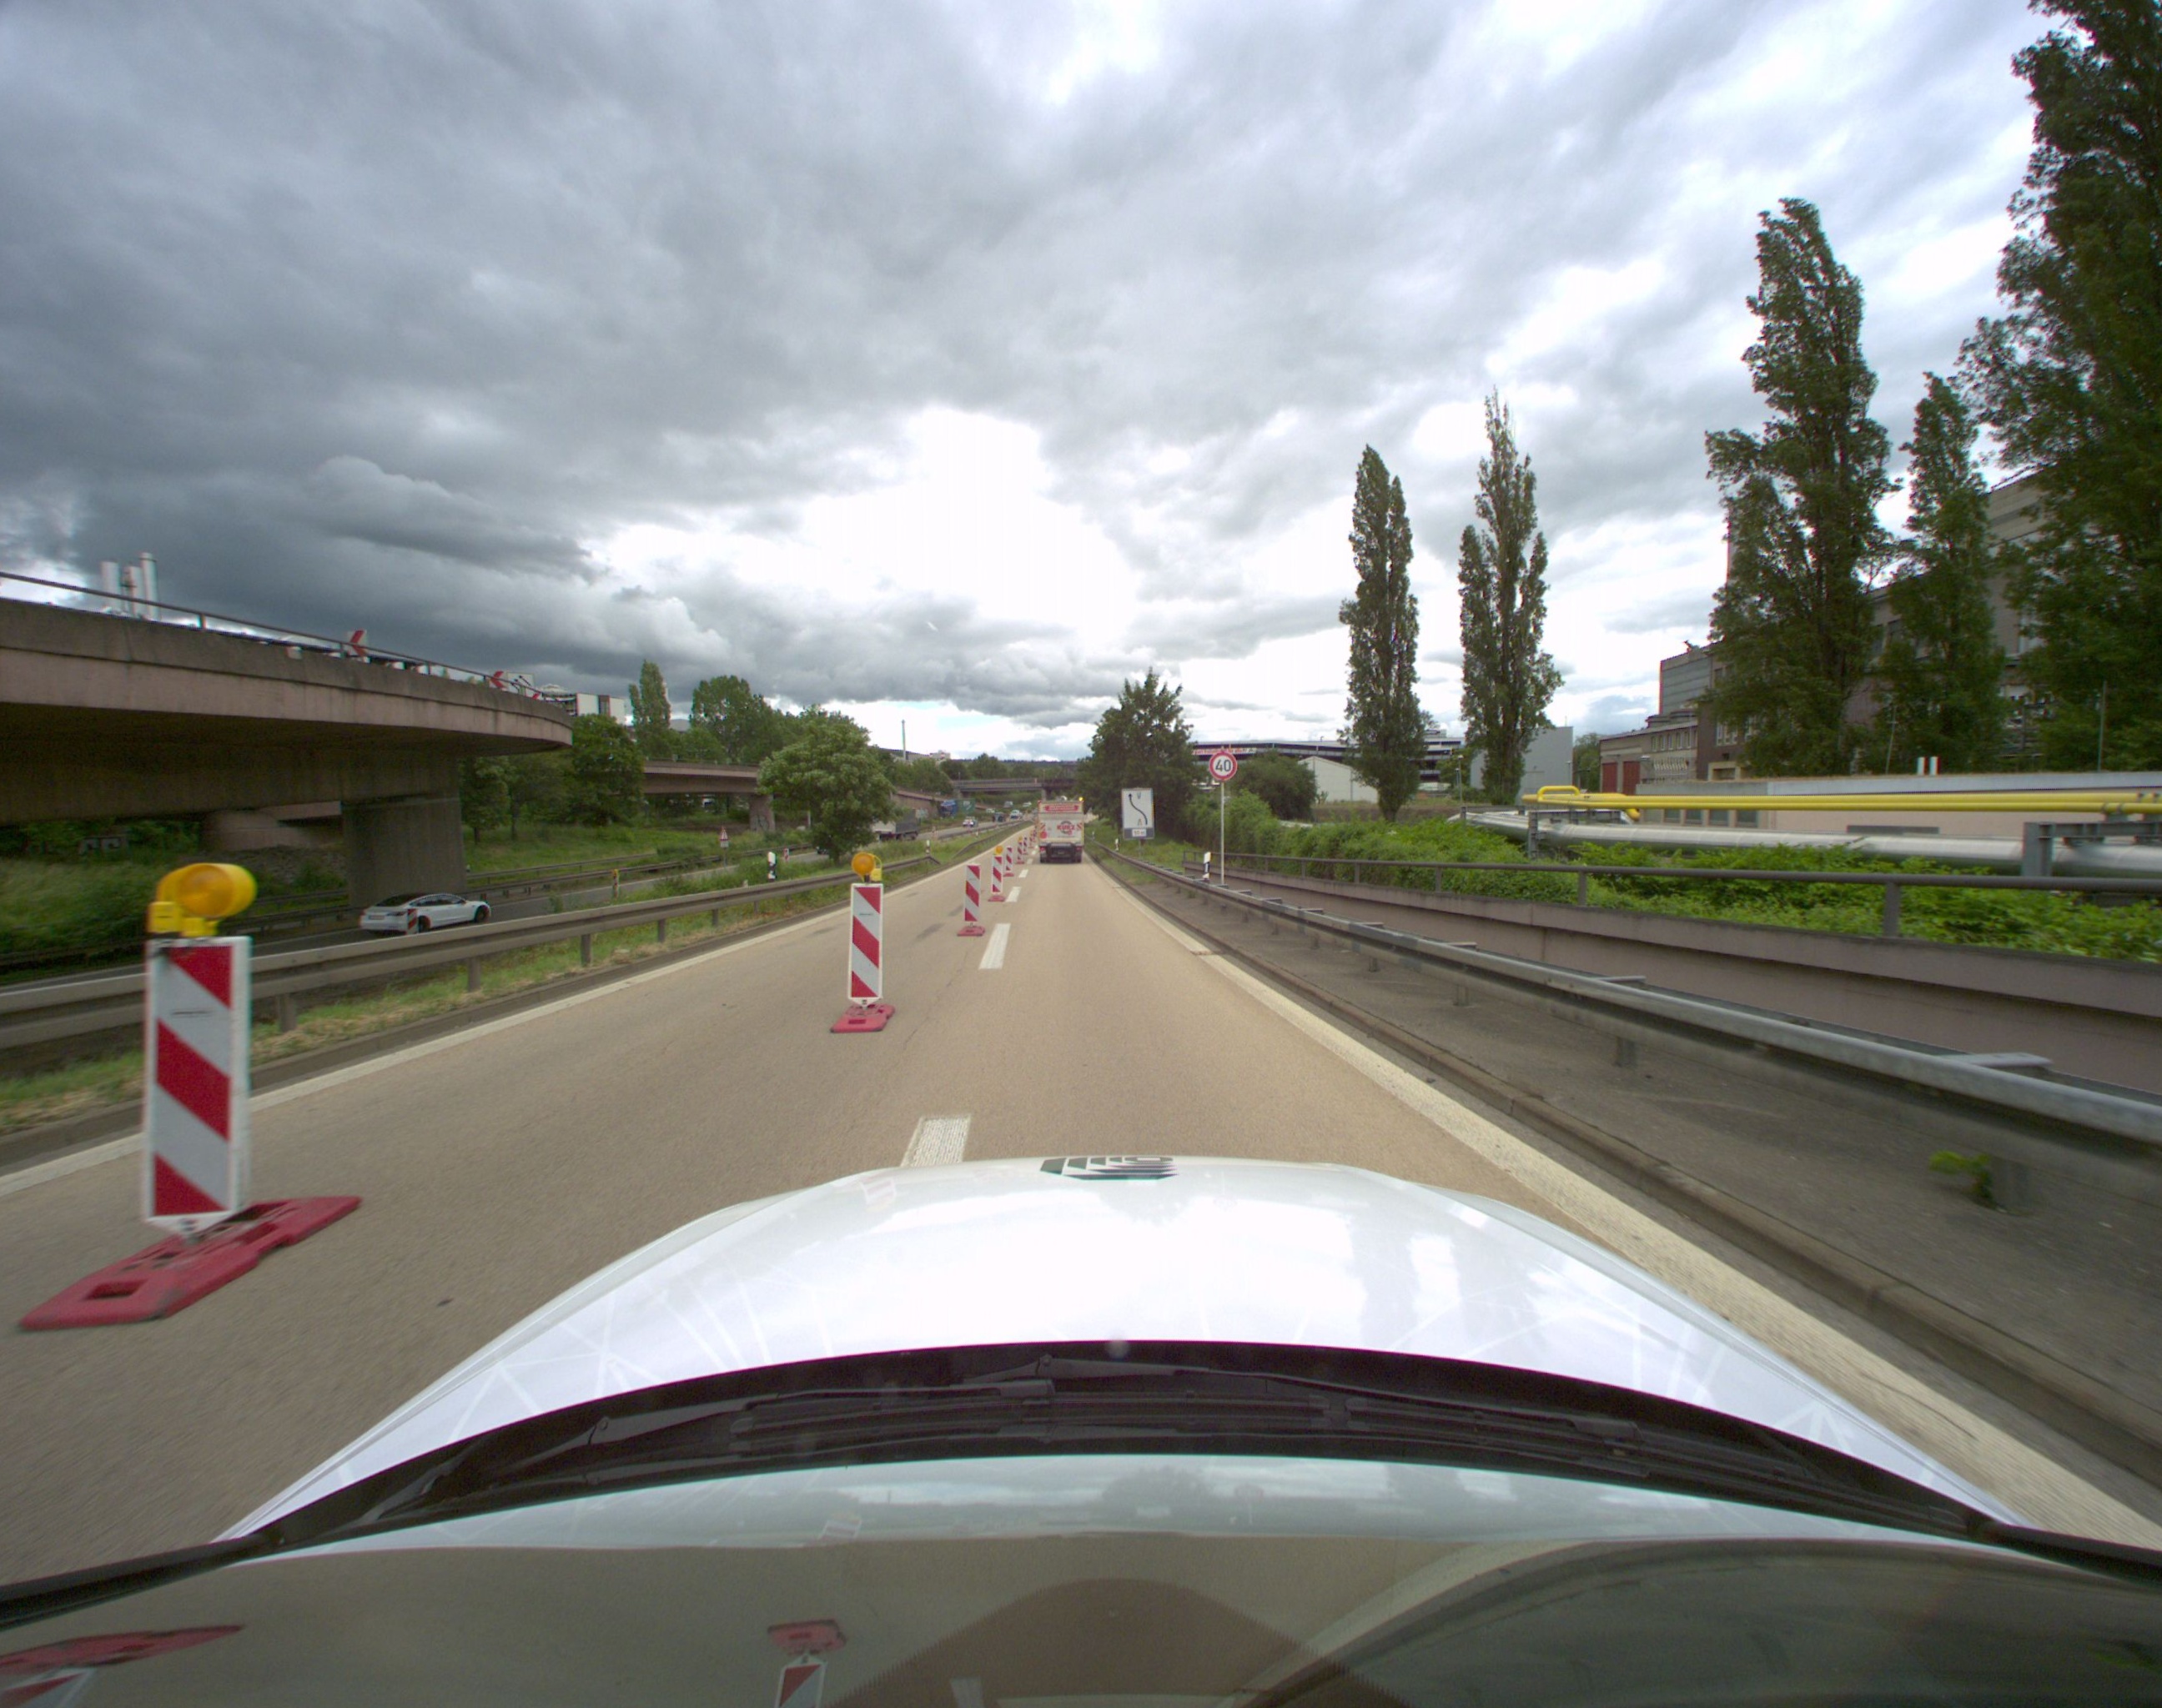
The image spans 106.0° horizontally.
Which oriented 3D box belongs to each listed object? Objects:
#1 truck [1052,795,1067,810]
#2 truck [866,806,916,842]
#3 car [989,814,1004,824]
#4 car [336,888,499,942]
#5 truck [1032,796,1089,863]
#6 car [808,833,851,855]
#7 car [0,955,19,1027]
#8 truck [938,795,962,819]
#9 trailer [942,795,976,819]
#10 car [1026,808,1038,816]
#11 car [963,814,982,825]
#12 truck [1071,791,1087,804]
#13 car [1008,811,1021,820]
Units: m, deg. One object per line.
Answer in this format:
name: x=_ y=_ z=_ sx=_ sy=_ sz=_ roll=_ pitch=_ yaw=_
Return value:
truck: x=-5.673 y=-13.813 z=216.797 sx=3.273 sy=3.851 sz=7.673 roll=-1 pitch=3 yaw=3
truck: x=-20.083 y=-3.270 z=86.675 sx=3.038 sy=3.655 sz=7.405 roll=0 pitch=3 yaw=4
car: x=-14.537 y=-6.121 z=140.262 sx=1.985 sy=1.617 sz=4.005 roll=-1 pitch=4 yaw=3
car: x=-25.650 y=2.299 z=31.765 sx=1.983 sy=1.455 sz=4.813 roll=0 pitch=4 yaw=7
truck: x=-1.234 y=-1.472 z=48.485 sx=3.043 sy=3.672 sz=7.923 roll=-1 pitch=2 yaw=-2
car: x=-21.779 y=-0.867 z=70.746 sx=1.983 sy=1.712 sz=4.111 roll=0 pitch=4 yaw=7
car: x=-26.330 y=3.335 z=16.992 sx=2.026 sy=1.614 sz=4.589 roll=0 pitch=4 yaw=7
truck: x=-23.688 y=-8.565 z=147.123 sx=2.738 sy=4.270 sz=5.515 roll=0 pitch=3 yaw=7
trailer: x=-22.935 y=-8.931 z=153.728 sx=2.757 sy=4.292 sz=14.009 roll=0 pitch=4 yaw=6
car: x=-10.803 y=-9.262 z=179.714 sx=1.985 sy=1.617 sz=4.005 roll=-1 pitch=4 yaw=3
car: x=-16.186 y=-5.196 z=121.669 sx=1.985 sy=1.617 sz=4.005 roll=-1 pitch=4 yaw=3
truck: x=-0.527 y=-15.555 z=224.474 sx=3.269 sy=3.598 sz=7.683 roll=0 pitch=4 yaw=7
car: x=-12.685 y=-7.347 z=155.208 sx=1.985 sy=1.617 sz=4.005 roll=-1 pitch=4 yaw=3
